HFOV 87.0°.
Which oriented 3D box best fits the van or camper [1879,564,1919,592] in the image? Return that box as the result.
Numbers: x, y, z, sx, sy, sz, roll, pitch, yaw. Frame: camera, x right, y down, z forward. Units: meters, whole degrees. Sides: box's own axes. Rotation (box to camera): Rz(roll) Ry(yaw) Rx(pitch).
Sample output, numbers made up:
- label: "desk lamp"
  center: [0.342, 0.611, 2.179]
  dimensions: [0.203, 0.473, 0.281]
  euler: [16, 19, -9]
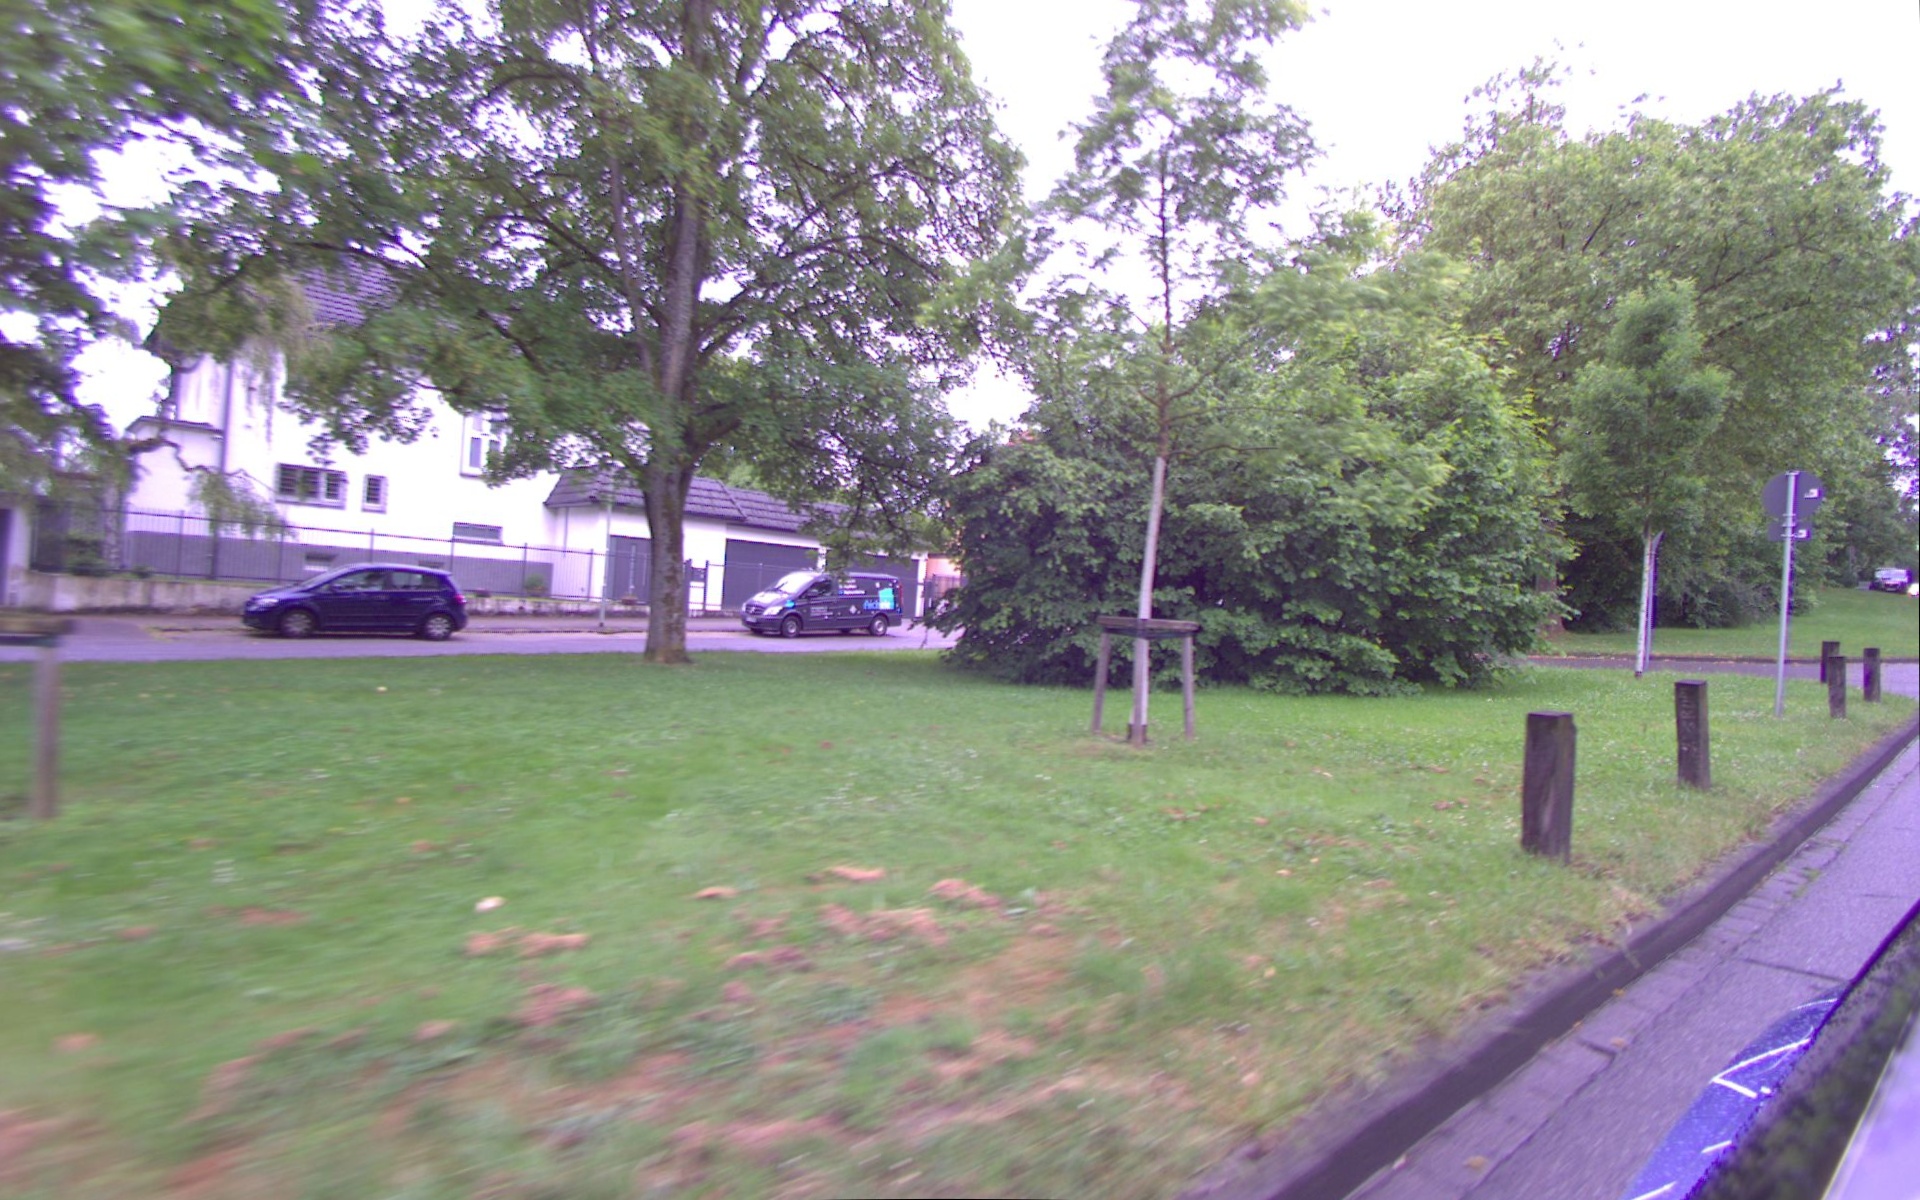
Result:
- label: "van or camper"
  center: [67.386, -1.621, 72.600]
  dimensions: [1.993, 1.891, 5.579]
  euler: [4, 4, 42]

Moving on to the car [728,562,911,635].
- label: "car"
  center: [-4.043, -0.055, 29.734]
  dimensions: [4.985, 1.902, 2.162]
  euler: [1, 2, -44]

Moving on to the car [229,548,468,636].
- label: "car"
  center: [-12.771, -0.172, 21.251]
  dimensions: [3.967, 1.644, 1.904]
  euler: [1, 2, -44]

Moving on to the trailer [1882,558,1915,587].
- label: "trailer"
  center: [70.546, -2.087, 76.115]
  dimensions: [1.696, 2.079, 3.892]
  euler: [3, 3, 42]
